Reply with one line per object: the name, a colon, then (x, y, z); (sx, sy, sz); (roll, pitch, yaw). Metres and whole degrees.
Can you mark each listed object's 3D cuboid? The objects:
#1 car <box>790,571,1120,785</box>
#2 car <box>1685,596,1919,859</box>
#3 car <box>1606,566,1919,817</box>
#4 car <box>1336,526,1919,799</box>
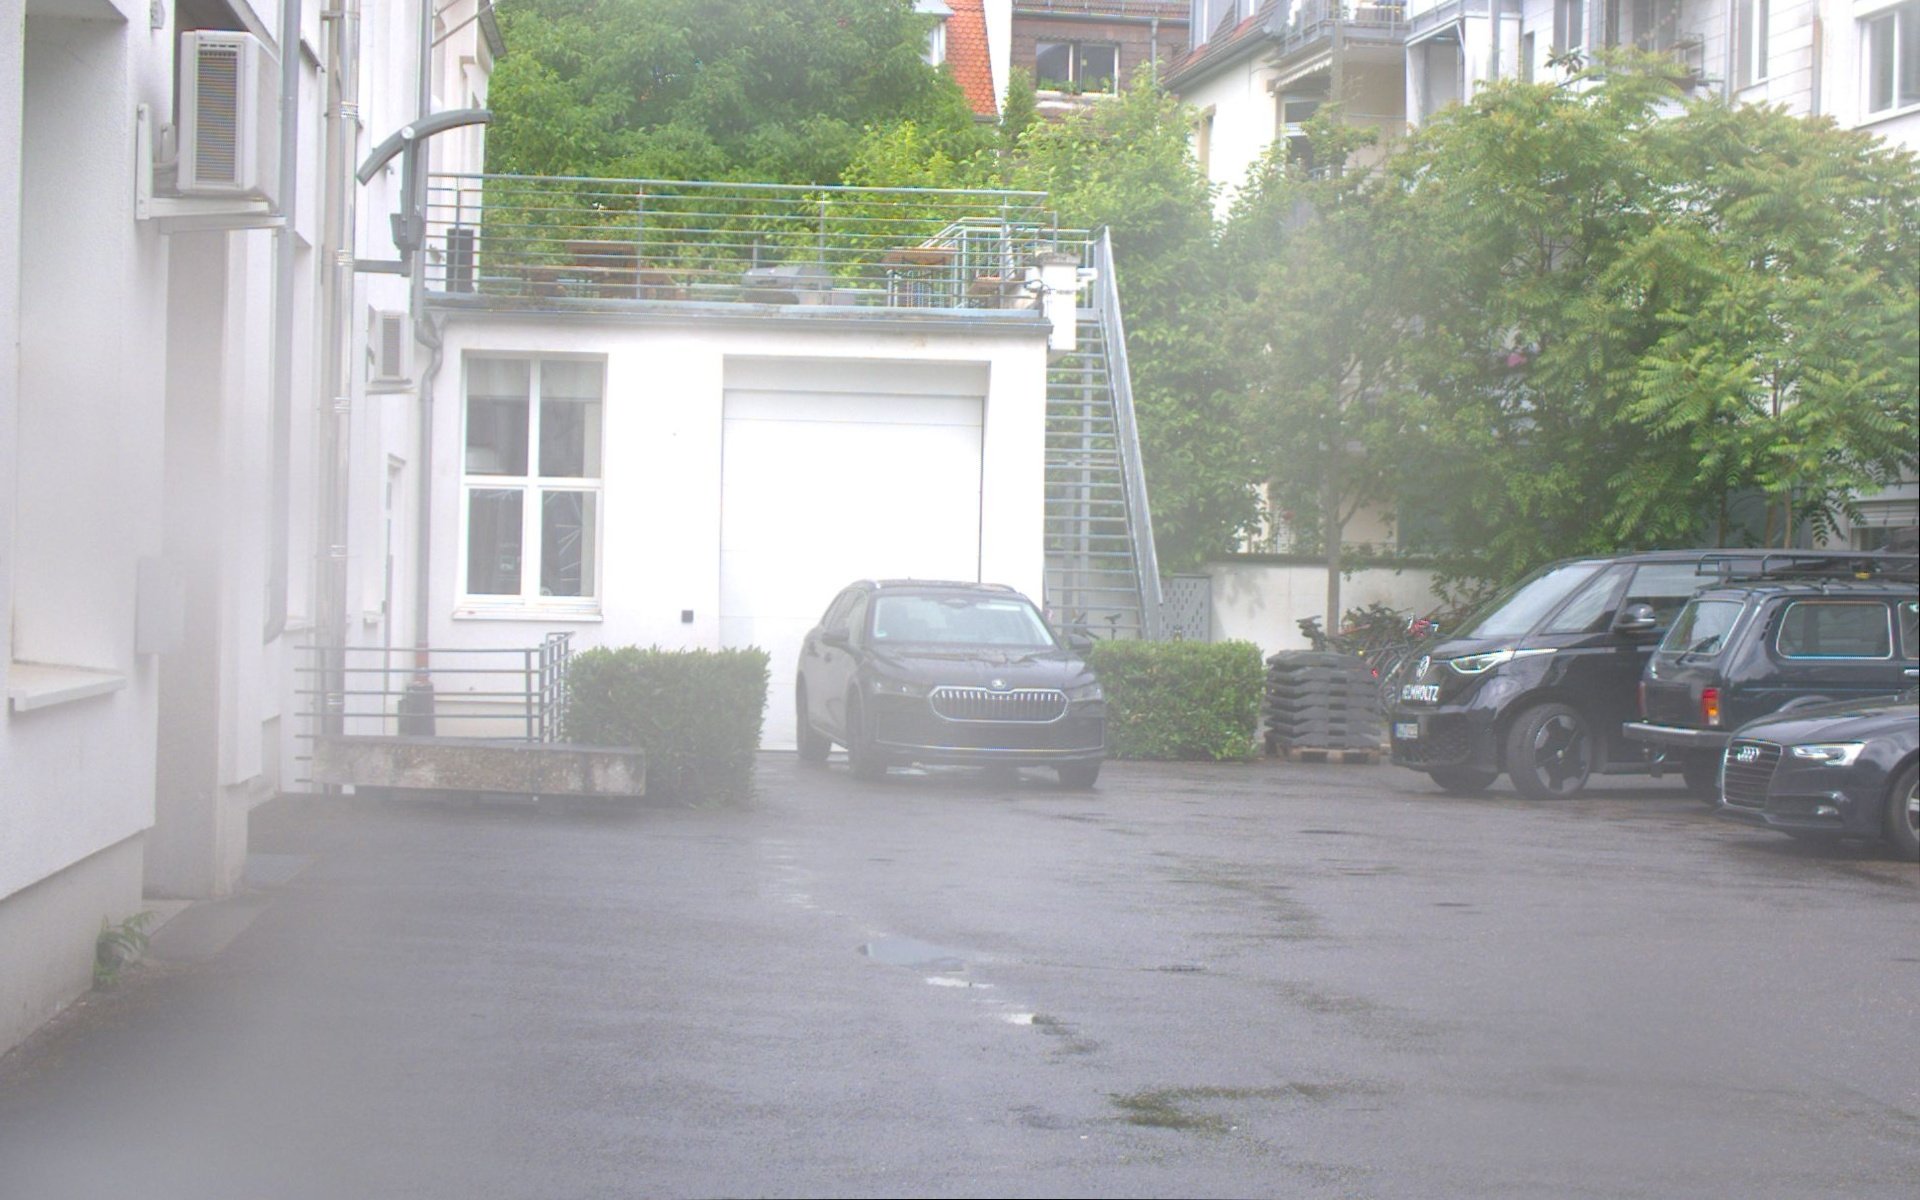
car: (-0.129, 0.533, 26.140); (1.979, 1.439, 4.001); (2, 1, -7)
car: (6.591, 0.732, 20.884); (3.908, 1.508, 1.752); (0, 0, -10)
car: (6.718, 0.615, 24.172); (3.908, 1.682, 1.817); (0, 0, -7)
car: (5.528, 0.439, 26.881); (4.634, 1.996, 2.226); (0, 1, -15)
